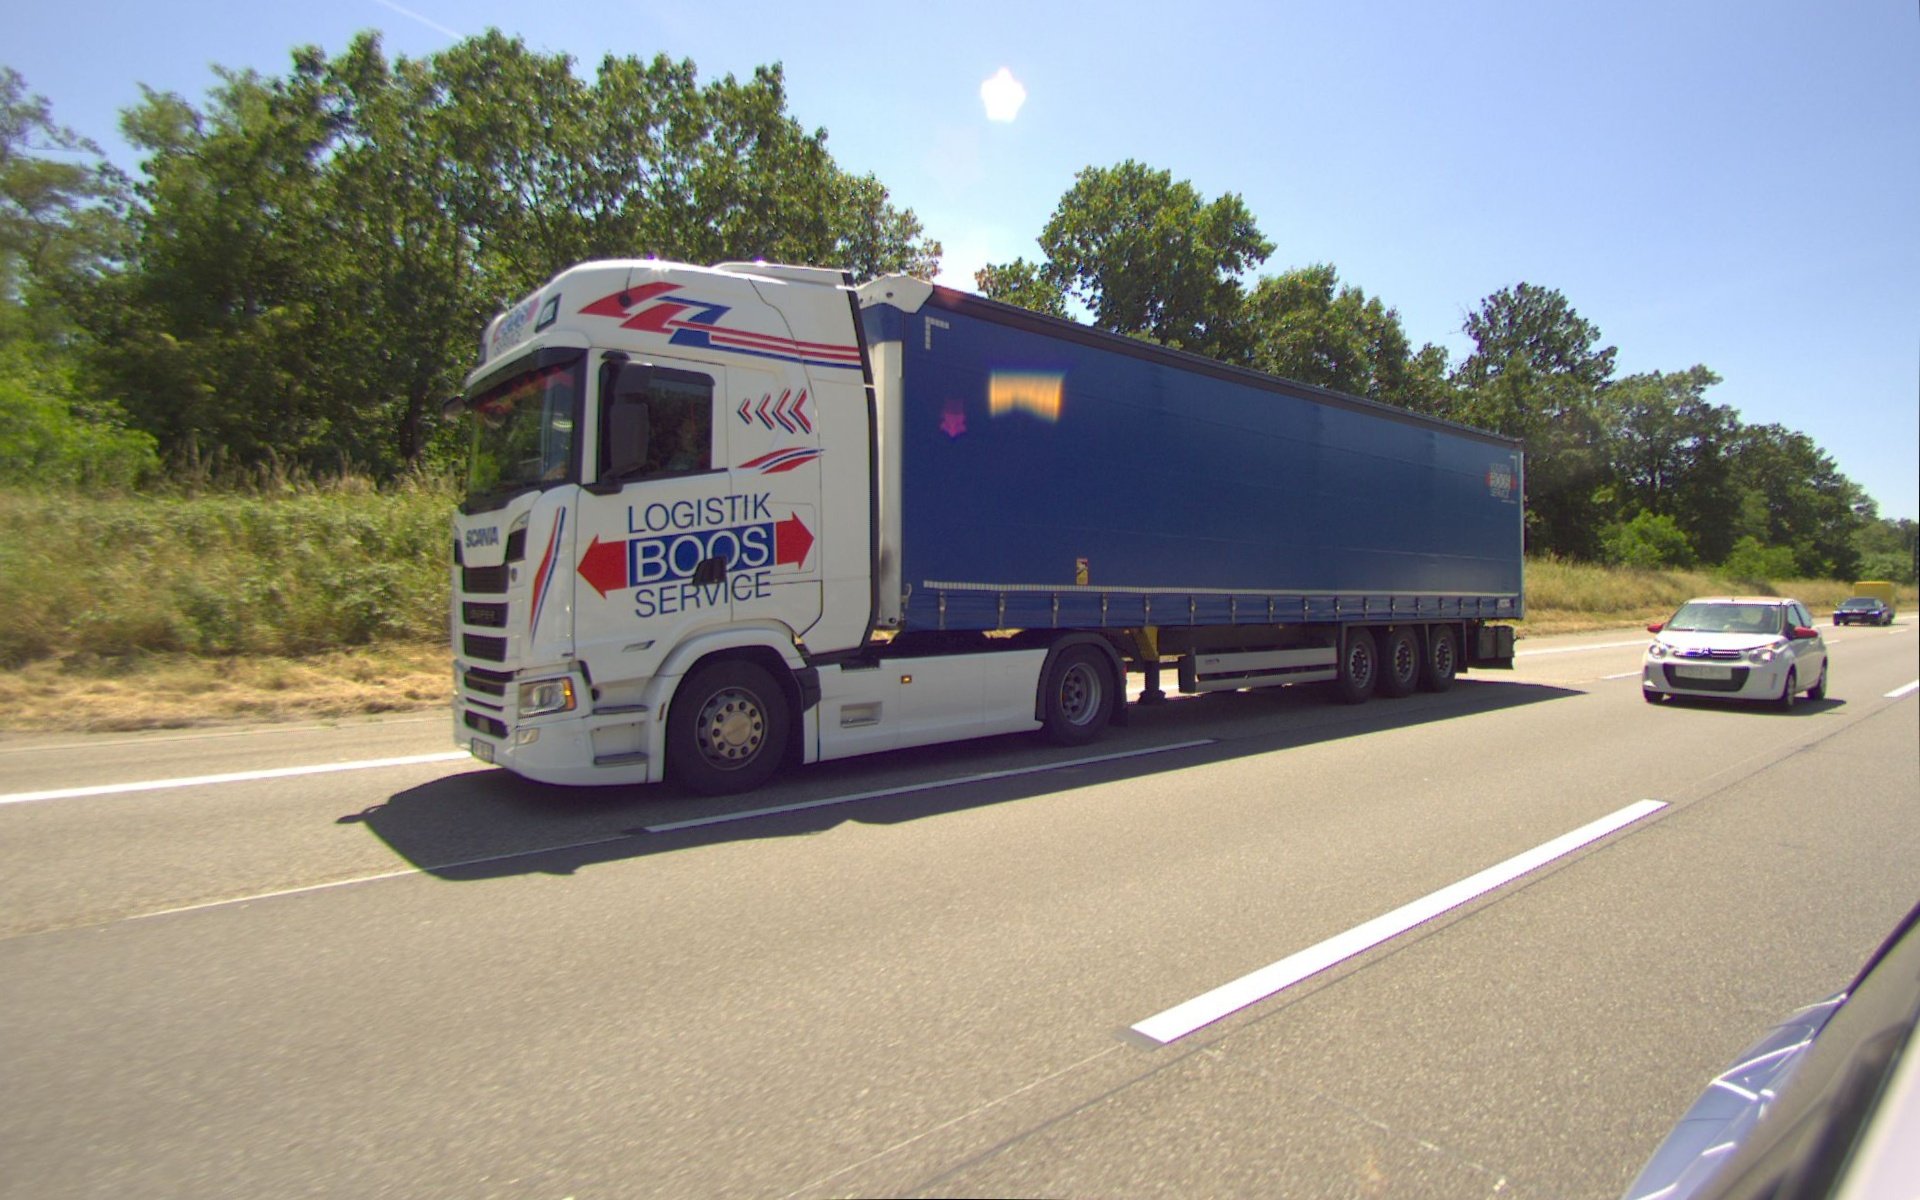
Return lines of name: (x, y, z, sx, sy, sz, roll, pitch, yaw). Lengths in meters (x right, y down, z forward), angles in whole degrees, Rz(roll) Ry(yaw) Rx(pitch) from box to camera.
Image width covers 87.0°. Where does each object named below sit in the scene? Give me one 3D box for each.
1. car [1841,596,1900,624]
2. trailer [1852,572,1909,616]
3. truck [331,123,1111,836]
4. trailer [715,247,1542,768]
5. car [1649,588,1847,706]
car: (46.125, 0.483, 51.267, 3.294, 1.298, 1.844, -1, 1, -41)
trailer: (48.568, -0.345, 53.380, 3.141, 2.236, 1.847, -1, 0, -41)
truck: (-1.681, -0.722, 8.736, 6.066, 4.053, 2.601, -1, 0, -41)
trailer: (3.676, -0.795, 13.401, 13.835, 4.053, 2.601, -1, 0, -41)
car: (11.077, 0.565, 14.167, 3.294, 1.438, 1.580, -1, 0, -41)
